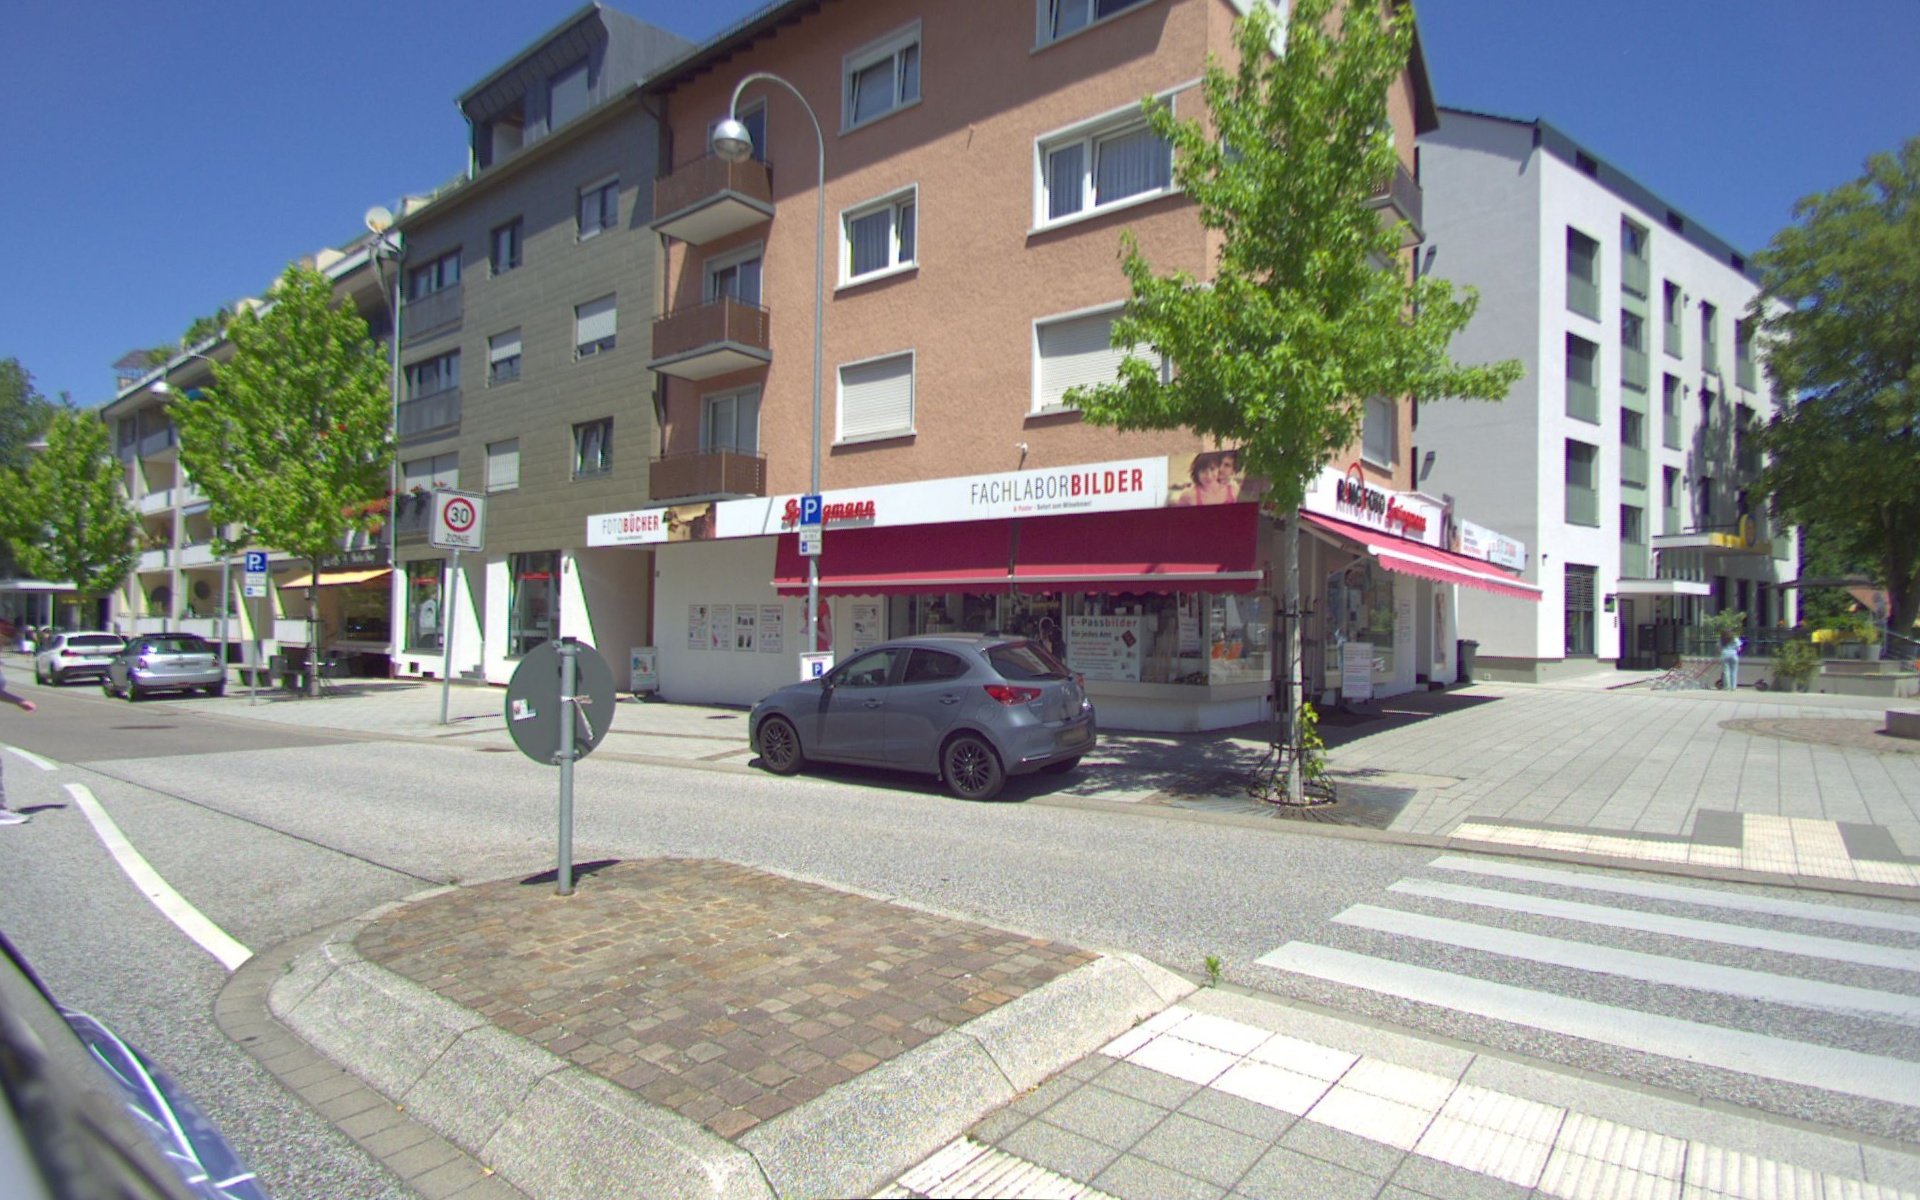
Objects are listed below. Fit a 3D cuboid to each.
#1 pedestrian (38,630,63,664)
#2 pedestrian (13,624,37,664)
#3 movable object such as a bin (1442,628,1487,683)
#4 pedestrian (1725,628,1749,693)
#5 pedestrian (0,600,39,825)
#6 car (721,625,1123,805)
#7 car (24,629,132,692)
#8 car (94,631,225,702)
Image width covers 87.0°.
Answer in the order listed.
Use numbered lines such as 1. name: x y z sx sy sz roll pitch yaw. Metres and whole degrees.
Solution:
1. pedestrian: -41.885 2.161 46.607 0.767 1.510 0.698 2 -3 -39
2. pedestrian: -42.274 1.991 45.769 0.657 1.818 0.687 2 -3 -36
3. movable object such as a bin: 11.927 1.297 23.928 0.747 1.262 0.826 -2 -3 41
4. pedestrian: 19.831 1.545 25.843 0.449 1.631 0.445 -2 -3 37
5. pedestrian: -7.249 0.810 7.354 0.559 1.622 0.724 -2 -3 42
6. car: -0.499 1.052 10.615 4.052 1.497 1.652 -1 0 36
7. car: -26.050 1.738 29.833 4.296 1.604 1.678 -2 2 40
8. car: -18.113 1.445 22.854 3.545 1.485 1.605 -1 -3 40
